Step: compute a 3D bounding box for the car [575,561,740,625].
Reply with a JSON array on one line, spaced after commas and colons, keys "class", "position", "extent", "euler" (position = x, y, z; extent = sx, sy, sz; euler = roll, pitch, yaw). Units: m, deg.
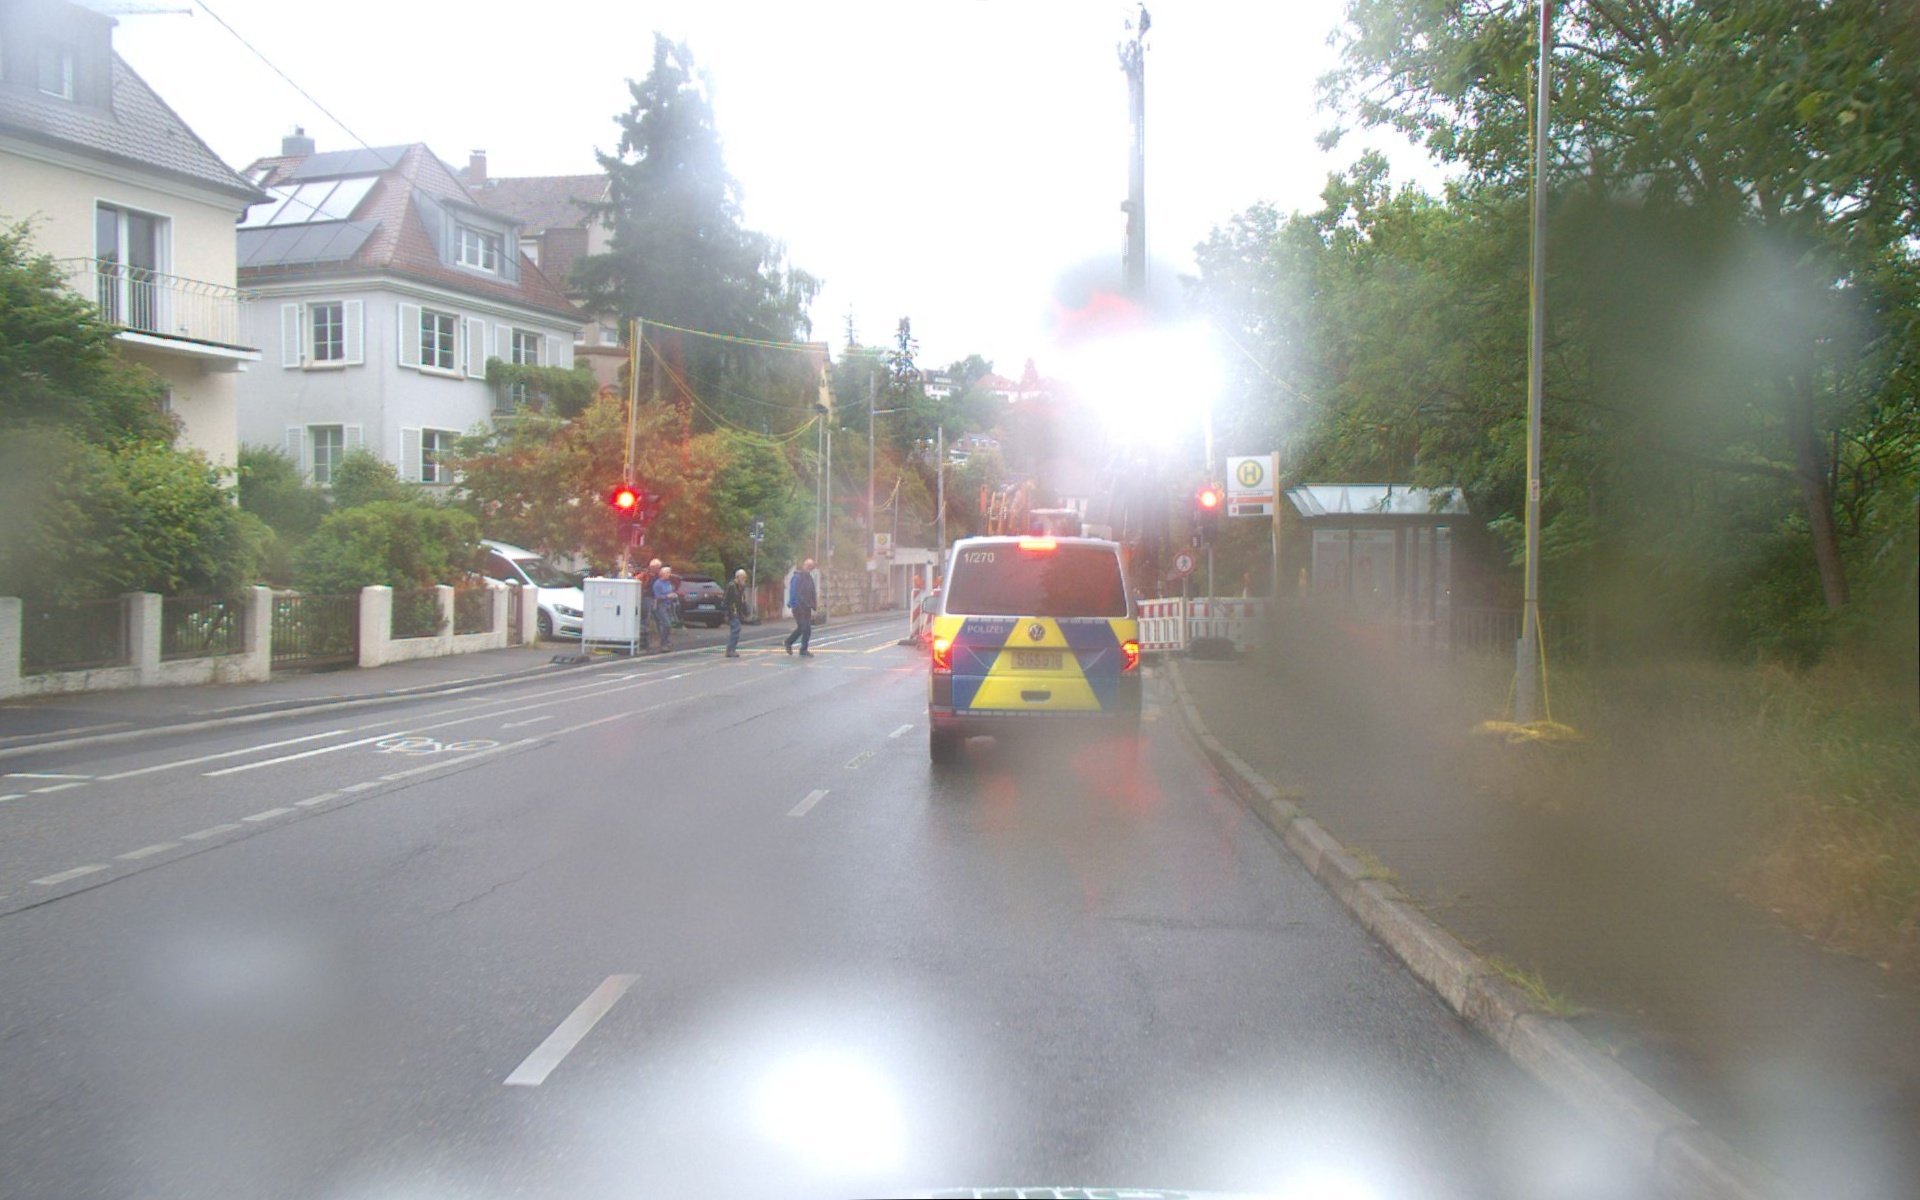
[{"class": "car", "position": [-8.055, -0.188, 44.231], "extent": [3.902, 1.512, 1.761], "euler": [2, -2, 12]}]

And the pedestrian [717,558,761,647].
[{"class": "pedestrian", "position": [-4.150, 0.047, 31.122], "extent": [0.672, 1.632, 0.606], "euler": [2, -2, 0]}]

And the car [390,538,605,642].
[{"class": "car", "position": [-9.666, -0.229, 34.673], "extent": [3.902, 2.049, 1.832], "euler": [1, 0, 13]}]

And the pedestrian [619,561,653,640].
[{"class": "pedestrian", "position": [-6.406, 0.009, 32.704], "extent": [0.514, 1.533, 0.429], "euler": [2, -2, 3]}]

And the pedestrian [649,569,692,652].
[{"class": "pedestrian", "position": [-5.511, 0.201, 31.470], "extent": [0.613, 1.548, 0.593], "euler": [2, -2, 3]}]

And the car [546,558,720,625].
[{"class": "car", "position": [-8.291, -0.203, 42.087], "extent": [3.902, 1.512, 1.761], "euler": [2, -2, 12]}]

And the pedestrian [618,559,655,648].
[{"class": "pedestrian", "position": [-6.268, 0.076, 32.090], "extent": [0.537, 1.697, 0.414], "euler": [2, -2, 3]}]

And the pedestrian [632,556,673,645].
[{"class": "pedestrian", "position": [-6.185, 0.022, 33.289], "extent": [0.613, 1.745, 0.593], "euler": [2, -2, 3]}]

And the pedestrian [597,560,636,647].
[{"class": "pedestrian", "position": [-6.516, 0.073, 31.407], "extent": [0.551, 1.610, 0.468], "euler": [2, -2, 3]}]

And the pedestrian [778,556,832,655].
[{"class": "pedestrian", "position": [-2.950, 0.109, 31.515], "extent": [0.871, 1.818, 0.828], "euler": [2, -2, 0]}]

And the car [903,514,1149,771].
[{"class": "car", "position": [0.703, 0.299, 15.520], "extent": [1.951, 2.048, 4.405], "euler": [-1, 1, 5]}]

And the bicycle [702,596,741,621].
[{"class": "bicycle", "position": [-6.796, 0.244, 47.131], "extent": [1.031, 0.674, 0.320], "euler": [2, -2, 12]}]
